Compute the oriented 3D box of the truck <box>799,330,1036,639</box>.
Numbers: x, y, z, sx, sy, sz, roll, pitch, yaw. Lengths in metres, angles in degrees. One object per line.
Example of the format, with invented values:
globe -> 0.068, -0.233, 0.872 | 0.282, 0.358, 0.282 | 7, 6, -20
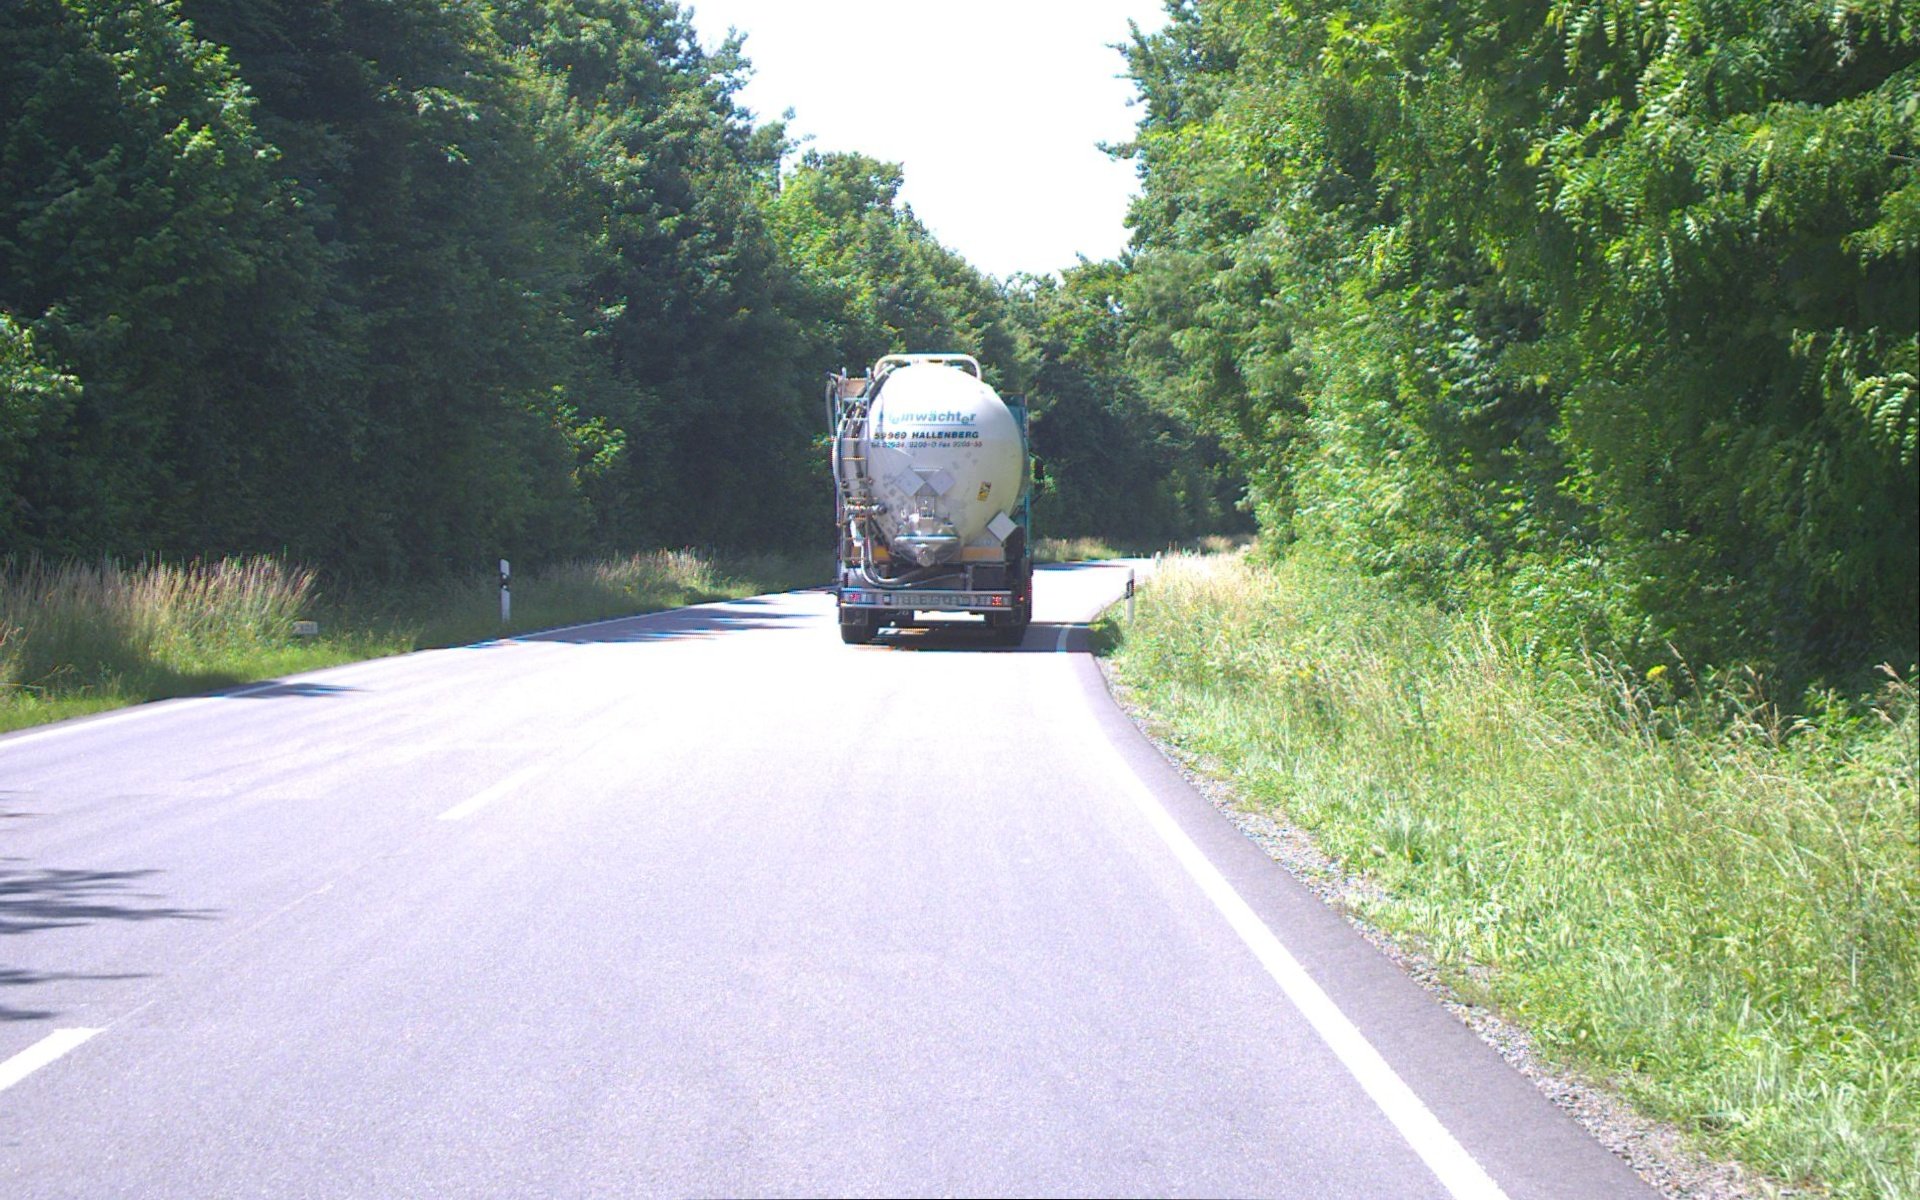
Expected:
truck -> -0.595, -1.667, 52.411 | 3.049, 3.984, 15.637 | 0, 1, 0
